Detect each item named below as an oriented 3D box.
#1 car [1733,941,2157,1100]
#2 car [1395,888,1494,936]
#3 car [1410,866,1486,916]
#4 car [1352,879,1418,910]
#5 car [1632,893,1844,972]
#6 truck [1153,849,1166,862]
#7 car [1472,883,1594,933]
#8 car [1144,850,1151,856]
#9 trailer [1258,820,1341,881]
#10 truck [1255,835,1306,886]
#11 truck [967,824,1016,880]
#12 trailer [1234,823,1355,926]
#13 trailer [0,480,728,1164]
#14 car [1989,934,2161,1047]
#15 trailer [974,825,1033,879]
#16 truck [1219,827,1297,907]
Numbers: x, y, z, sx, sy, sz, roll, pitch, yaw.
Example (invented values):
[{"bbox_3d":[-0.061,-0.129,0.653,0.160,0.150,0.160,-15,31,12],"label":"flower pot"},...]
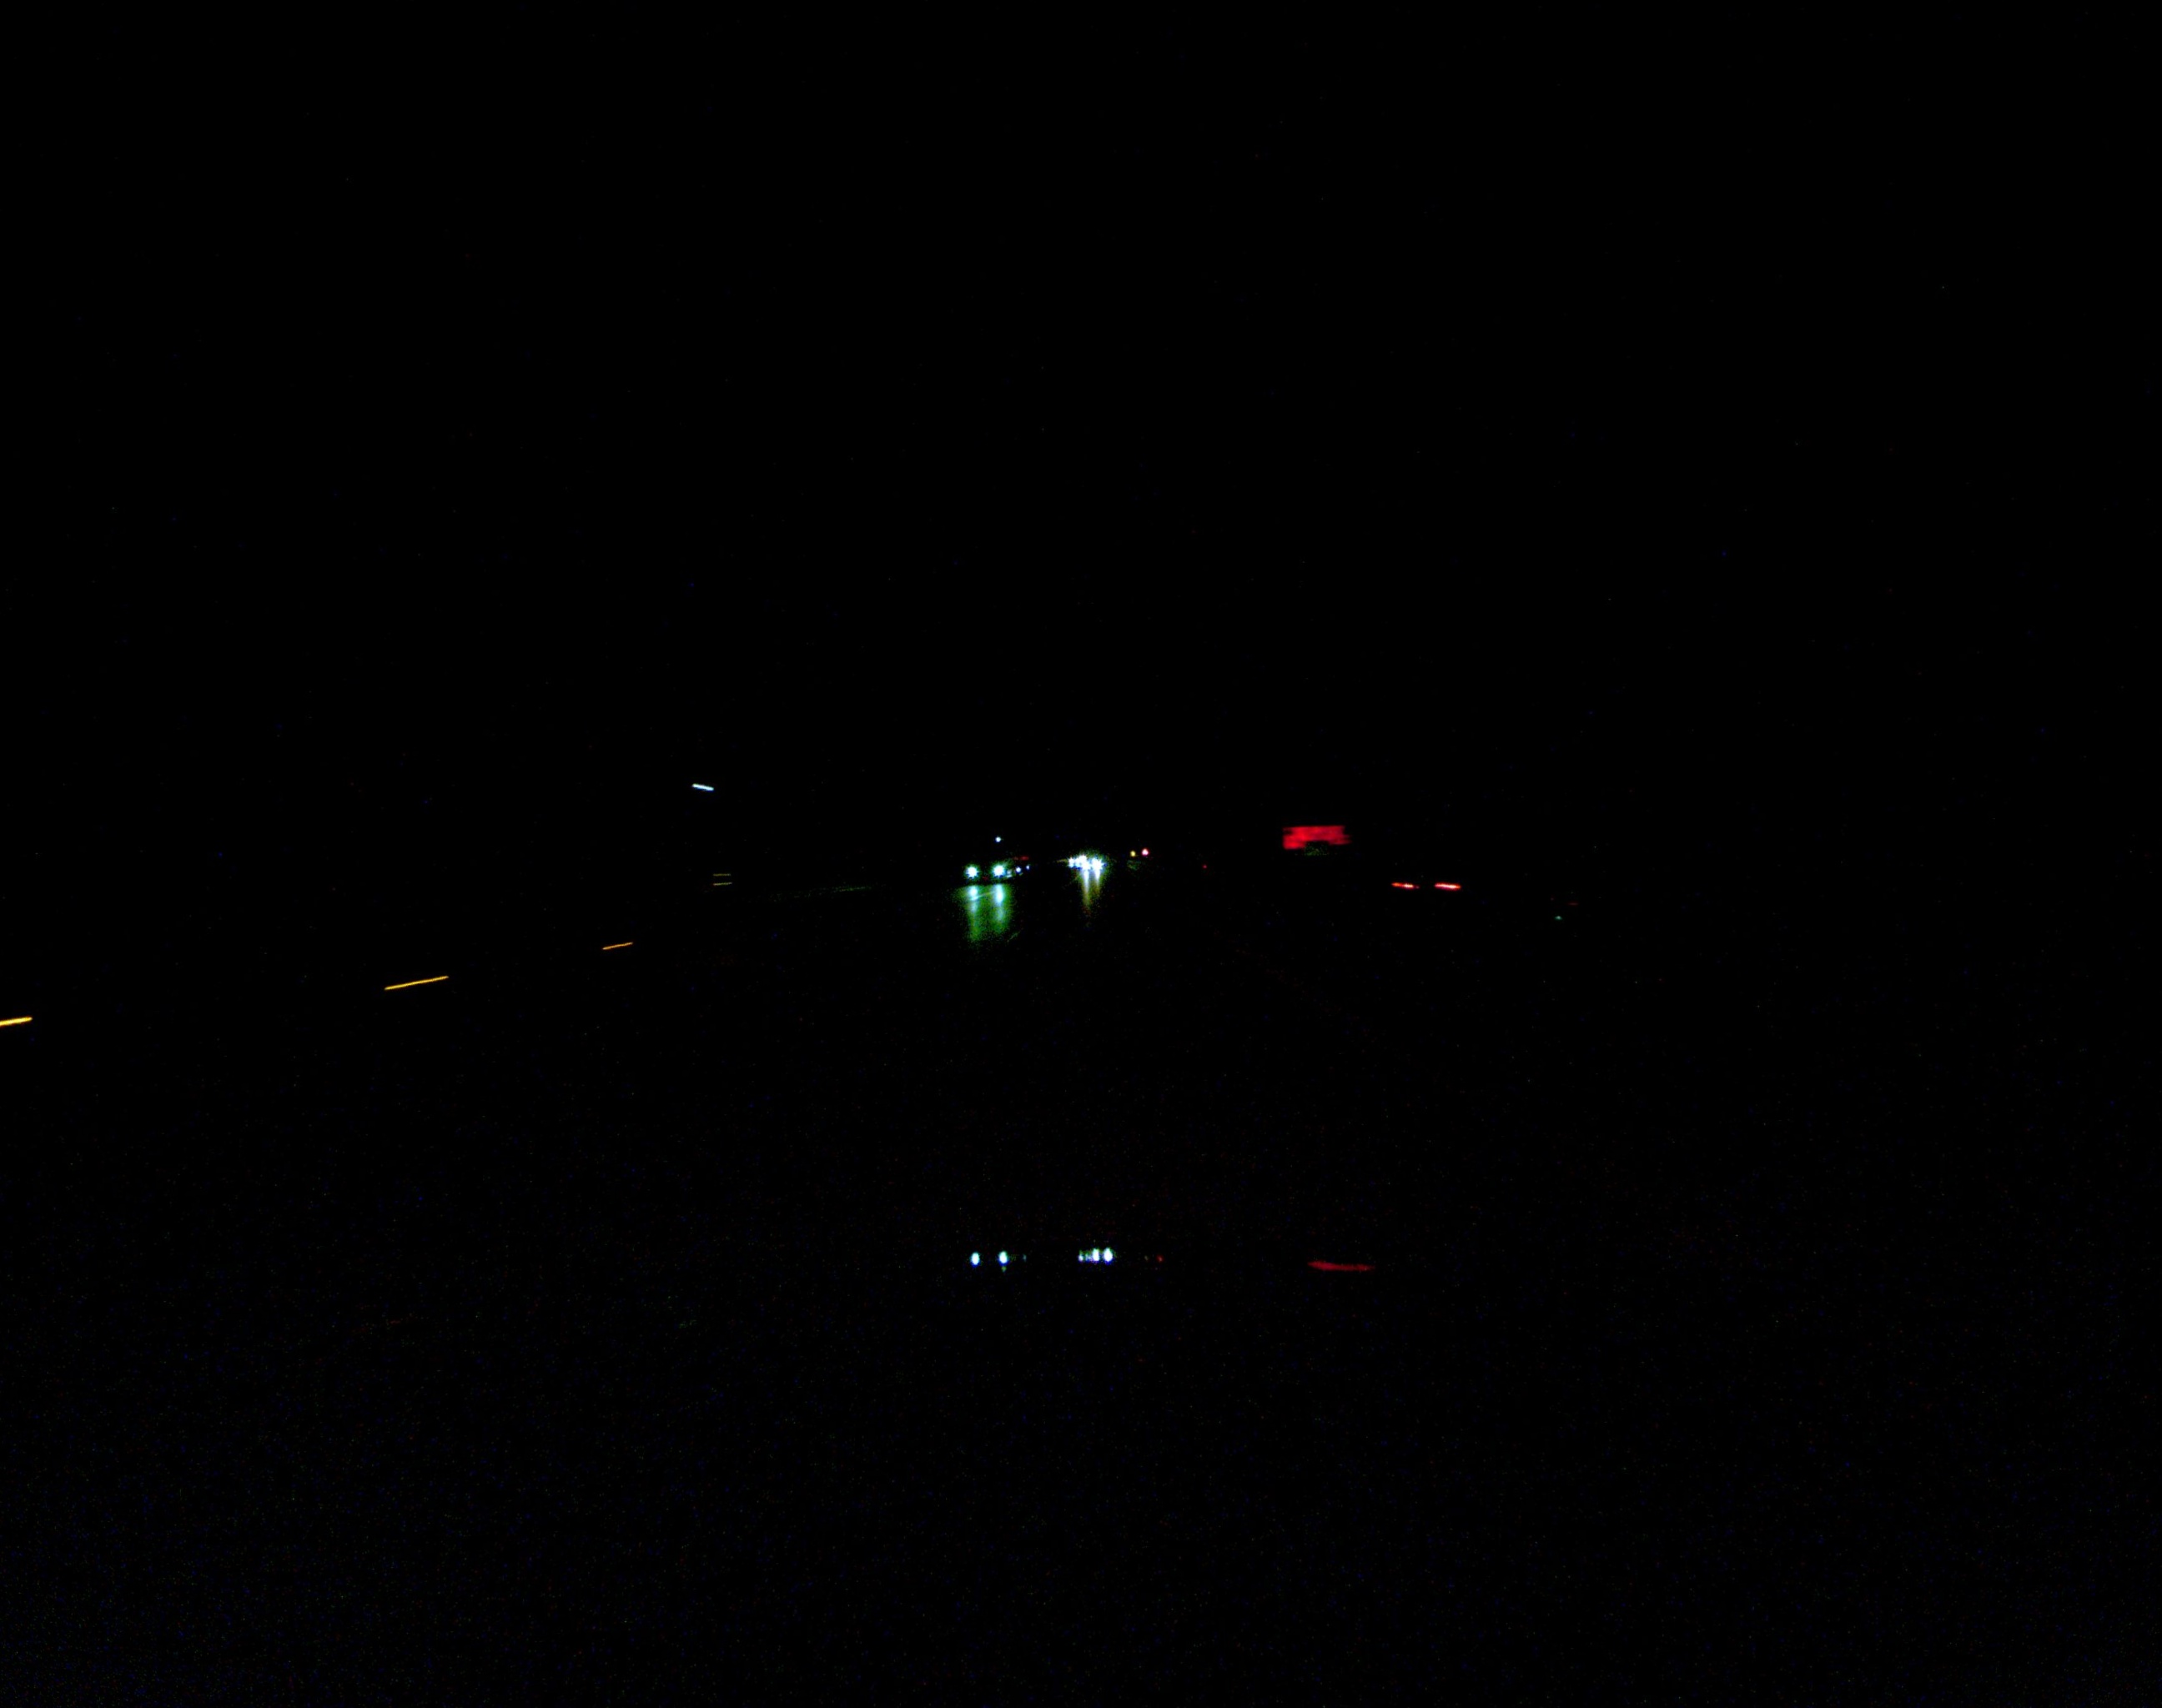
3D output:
[{"bbox_3d":[11.987,2.204,11.047,1.804,1.408,4.001,0,0,5],"label":"car"},{"bbox_3d":[12.895,2.002,27.231,1.804,1.408,4.001,0,0,3],"label":"car"},{"bbox_3d":[16.567,1.617,34.520,1.893,2.002,4.002,-1,0,7],"label":"car"},{"bbox_3d":[17.032,2.230,42.791,1.998,1.482,4.403,-2,0,1],"label":"car"},{"bbox_3d":[16.550,1.916,19.475,1.998,1.539,4.140,-1,0,4],"label":"car"},{"bbox_3d":[22.297,0.452,217.088,2.661,3.570,8.549,-2,0,0],"label":"truck"},{"bbox_3d":[16.638,1.933,28.269,1.998,1.482,4.403,-2,0,1],"label":"car"},{"bbox_3d":[22.848,-0.412,261.073,1.999,2.002,3.999,-3,1,-2],"label":"car"},{"bbox_3d":[17.637,-0.361,62.713,3.155,4.291,14.812,-3,1,3],"label":"trailer"},{"bbox_3d":[18.127,0.497,69.359,3.094,4.291,6.283,-3,1,3],"label":"truck"},{"bbox_3d":[-6.557,-0.147,56.268,2.900,3.948,4.001,-2,0,2],"label":"truck"},{"bbox_3d":[8.934,0.696,33.209,2.541,3.692,10.126,-3,1,2],"label":"trailer"},{"bbox_3d":[-7.558,-0.185,6.182,2.881,3.909,12.885,-2,1,2],"label":"trailer"},{"bbox_3d":[16.322,2.066,11.027,1.710,1.368,4.001,-1,0,5],"label":"car"},{"bbox_3d":[-6.319,-0.175,64.734,2.839,3.951,15.765,-1,0,2],"label":"trailer"},{"bbox_3d":[9.178,0.577,40.076,2.609,3.722,6.755,-3,1,2],"label":"truck"}]
